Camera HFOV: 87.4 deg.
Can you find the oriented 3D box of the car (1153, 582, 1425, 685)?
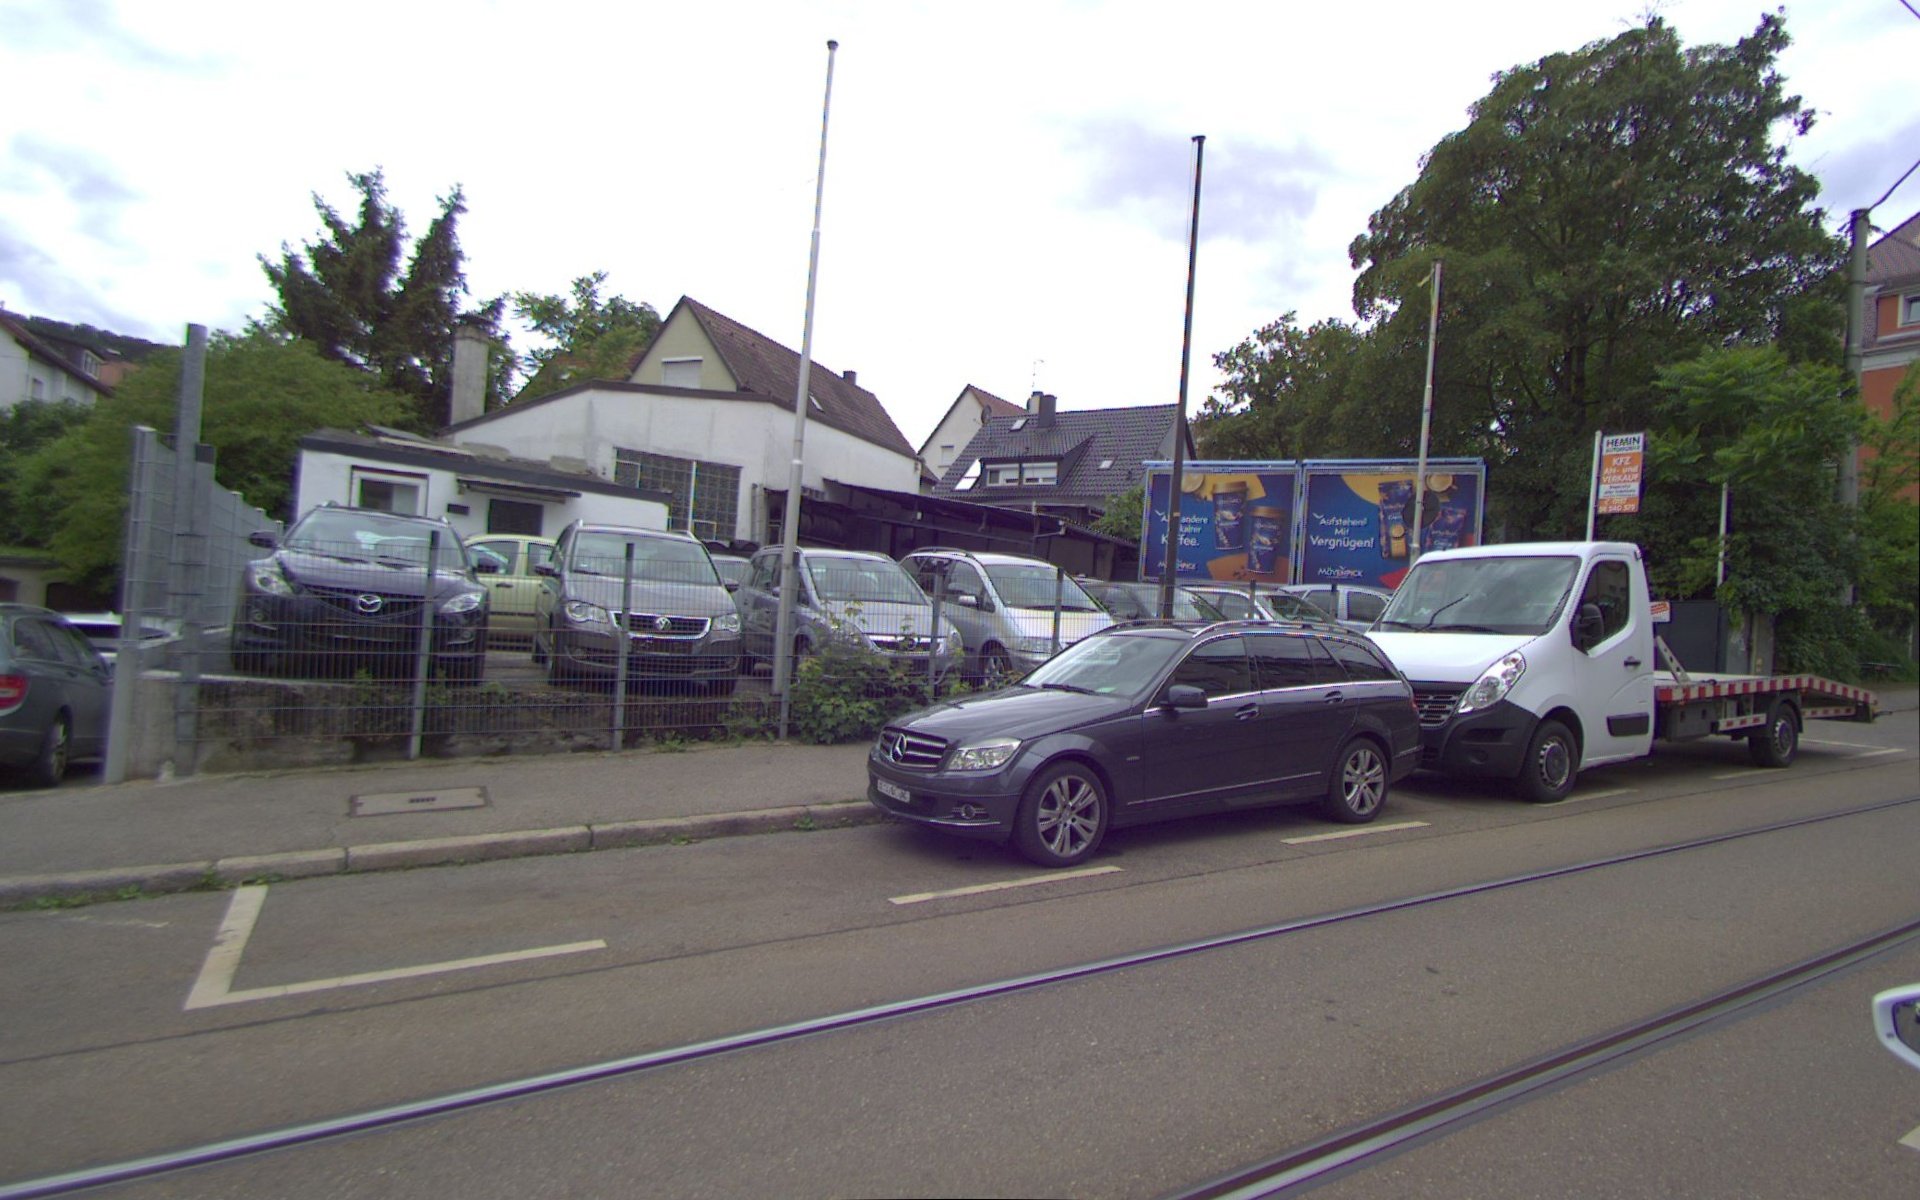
[{"bbox_3d":[4.909,0.443,15.494,1.668,1.375,3.857,1,0,-30],"label":"car"}]

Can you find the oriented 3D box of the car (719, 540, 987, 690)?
[{"bbox_3d":[-1.455,0.139,11.979,1.668,1.464,4.040,1,0,-30],"label":"car"}]

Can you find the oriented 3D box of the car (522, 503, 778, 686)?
[{"bbox_3d":[-3.451,-0.053,10.635,1.719,1.544,4.040,1,0,-30],"label":"car"}]

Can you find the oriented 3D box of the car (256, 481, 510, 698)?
[{"bbox_3d":[-5.384,-0.136,9.471,1.668,1.573,4.040,1,2,-30],"label":"car"}]

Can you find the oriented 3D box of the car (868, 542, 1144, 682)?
[{"bbox_3d":[0.414,0.123,13.078,1.668,1.514,4.040,1,0,-30],"label":"car"}]

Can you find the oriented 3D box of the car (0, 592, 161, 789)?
[{"bbox_3d":[-8.332,0.752,8.466,1.839,1.363,4.320,1,-4,-30],"label":"car"}]

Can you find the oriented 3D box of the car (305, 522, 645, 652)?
[{"bbox_3d":[-6.347,-0.121,13.387,3.842,1.514,1.675,1,0,-29],"label":"car"}]

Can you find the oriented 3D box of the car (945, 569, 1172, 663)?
[{"bbox_3d":[1.835,0.297,18.438,3.928,1.572,1.673,1,0,-32],"label":"car"}]

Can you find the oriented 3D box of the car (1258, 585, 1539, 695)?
[{"bbox_3d":[7.156,0.574,16.660,1.677,1.572,3.920,1,0,-44],"label":"car"}]

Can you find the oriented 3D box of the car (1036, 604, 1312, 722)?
[{"bbox_3d":[2.870,0.788,14.272,1.668,1.375,3.857,1,0,-30],"label":"car"}]

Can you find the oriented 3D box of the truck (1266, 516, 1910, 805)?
[{"bbox_3d":[6.962,0.542,10.643,7.928,2.217,2.270,1,0,-30],"label":"truck"}]

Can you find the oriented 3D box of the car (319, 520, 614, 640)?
[{"bbox_3d":[-7.471,-0.242,15.407,3.842,1.635,1.675,1,0,-29],"label":"car"}]

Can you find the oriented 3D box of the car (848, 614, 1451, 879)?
[{"bbox_3d":[1.539,0.873,7.423,4.431,1.452,1.688,1,-2,-32],"label":"car"}]

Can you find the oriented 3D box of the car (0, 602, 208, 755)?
[{"bbox_3d":[-10.985,0.989,12.625,1.839,1.604,4.320,4,-6,-30],"label":"car"}]
